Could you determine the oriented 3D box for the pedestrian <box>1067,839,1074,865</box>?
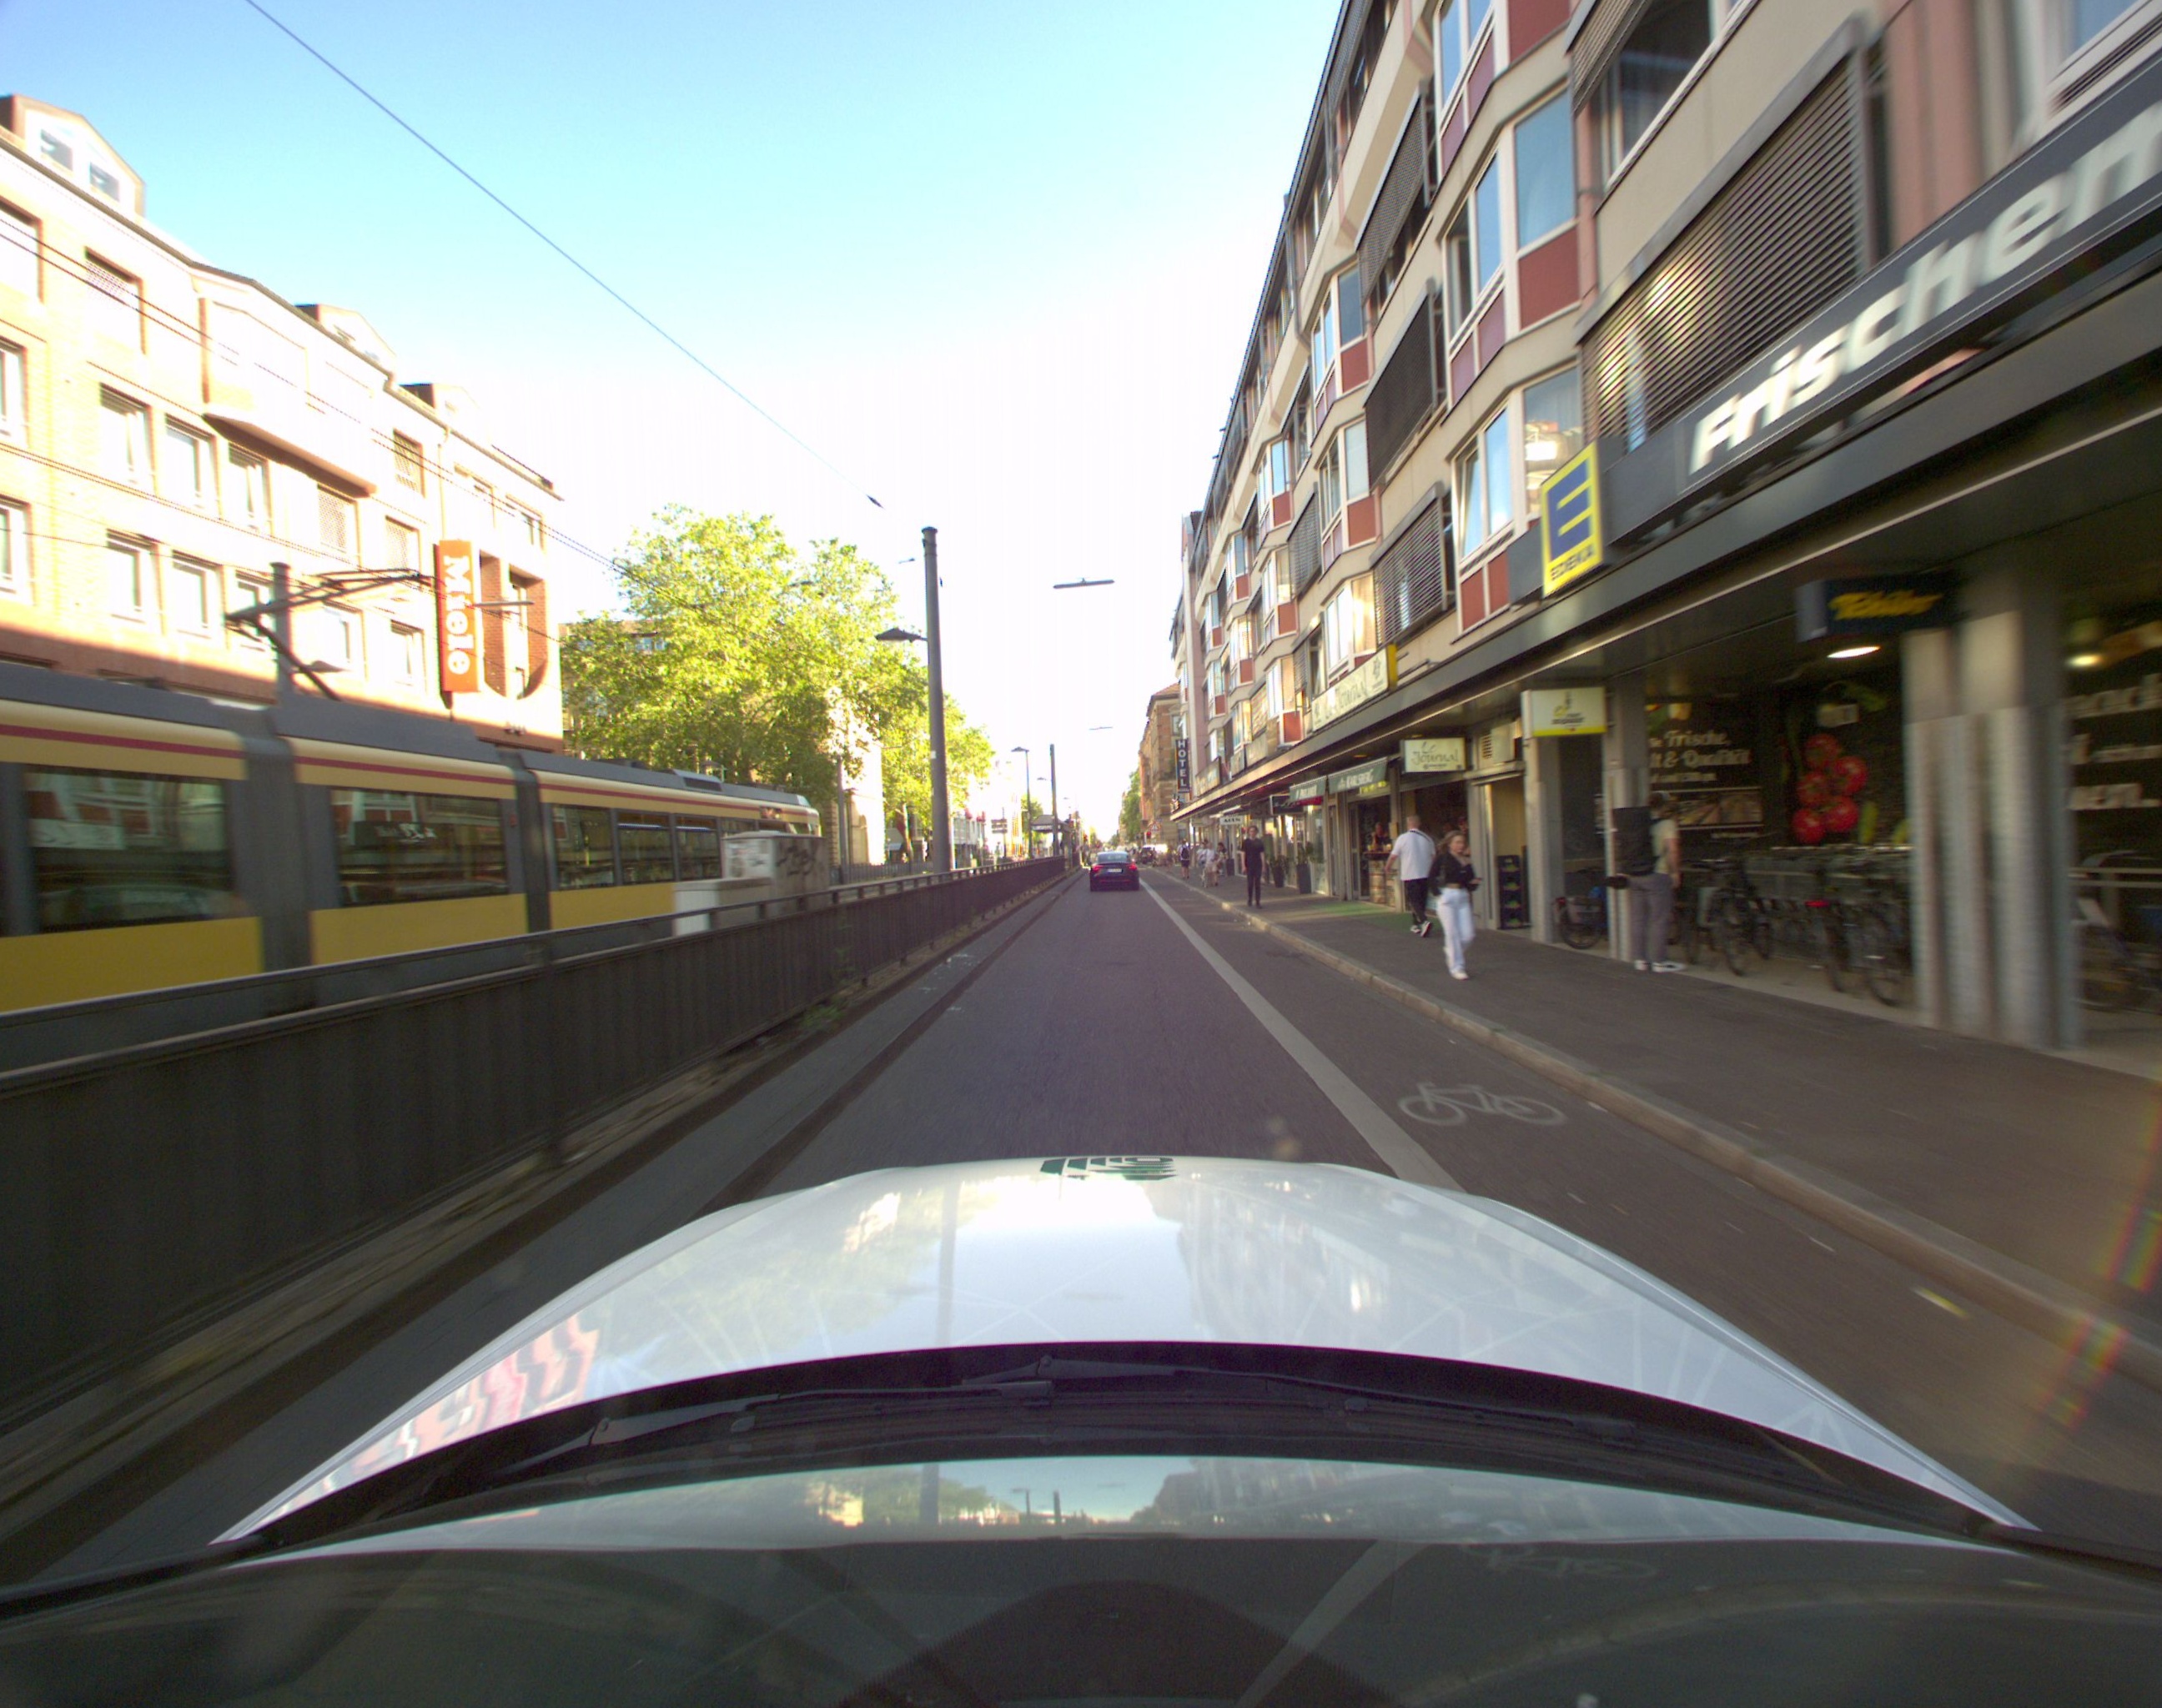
[{"bbox_3d":[-0.706,-0.141,53.056,0.350,1.669,0.529,-3,0,1],"label":"pedestrian"}]

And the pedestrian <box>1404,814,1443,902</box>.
[{"bbox_3d":[6.586,0.071,15.689,0.513,1.632,0.523,-3,0,7],"label":"pedestrian"}]

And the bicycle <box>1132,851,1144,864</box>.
[{"bbox_3d":[5.431,0.340,77.076,0.647,1.139,2.089,-2,0,-9],"label":"bicycle"}]

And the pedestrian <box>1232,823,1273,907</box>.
[{"bbox_3d":[3.981,0.237,18.993,0.672,1.861,0.993,-5,0,3],"label":"pedestrian"}]

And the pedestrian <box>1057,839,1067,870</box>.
[{"bbox_3d":[-0.981,0.037,41.572,0.422,1.573,0.448,-2,0,2],"label":"pedestrian"}]

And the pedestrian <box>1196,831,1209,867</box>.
[{"bbox_3d":[6.494,-0.272,43.615,0.449,1.849,0.812,-4,0,0],"label":"pedestrian"}]

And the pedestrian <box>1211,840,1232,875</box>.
[{"bbox_3d":[6.257,0.135,36.294,0.735,1.472,0.707,-5,0,2],"label":"pedestrian"}]

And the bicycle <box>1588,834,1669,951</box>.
[{"bbox_3d":[6.346,0.412,9.409,1.393,1.236,0.405,-3,0,-42],"label":"bicycle"}]

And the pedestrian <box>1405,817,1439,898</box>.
[{"bbox_3d":[6.924,0.071,16.545,0.454,1.603,0.465,-3,0,4],"label":"pedestrian"}]

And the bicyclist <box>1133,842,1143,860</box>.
[{"bbox_3d":[5.403,-0.320,77.080,0.654,1.655,0.925,-2,0,-9],"label":"bicyclist"}]

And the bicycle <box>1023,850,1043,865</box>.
[{"bbox_3d":[-5.052,0.384,85.640,1.951,1.516,0.632,-2,0,-13],"label":"bicycle"}]

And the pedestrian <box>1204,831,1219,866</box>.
[{"bbox_3d":[6.765,-0.290,42.202,0.627,1.769,0.501,-4,0,2],"label":"pedestrian"}]

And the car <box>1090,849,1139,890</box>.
[{"bbox_3d":[1.246,0.532,31.033,1.713,1.405,3.711,-2,1,1],"label":"car"}]

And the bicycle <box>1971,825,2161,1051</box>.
[{"bbox_3d":[6.599,0.451,5.142,0.550,1.236,2.096,-3,0,26],"label":"bicycle"}]

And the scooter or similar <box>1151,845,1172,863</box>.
[{"bbox_3d":[6.015,0.014,60.794,1.473,1.229,0.592,-5,0,2],"label":"scooter or similar"}]

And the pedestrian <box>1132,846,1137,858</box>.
[{"bbox_3d":[8.436,-0.358,128.768,0.670,1.814,0.756,-3,0,1],"label":"pedestrian"}]

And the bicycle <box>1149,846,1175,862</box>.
[{"bbox_3d":[6.384,-0.011,64.120,1.939,1.106,0.564,-3,0,0],"label":"bicycle"}]

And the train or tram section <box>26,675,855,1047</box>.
[{"bbox_3d":[-8.681,-0.090,16.361,2.962,3.644,16.496,-1,1,2],"label":"train or tram section"}]

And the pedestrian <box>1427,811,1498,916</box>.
[{"bbox_3d":[6.443,0.153,13.787,0.769,1.674,0.696,-5,0,2],"label":"pedestrian"}]

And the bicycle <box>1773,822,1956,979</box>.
[{"bbox_3d":[7.153,0.355,7.561,0.570,1.254,2.129,-1,0,26],"label":"bicycle"}]

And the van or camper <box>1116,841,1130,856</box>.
[{"bbox_3d":[6.035,-0.723,117.216,1.924,2.037,5.477,-1,0,1],"label":"van or camper"}]

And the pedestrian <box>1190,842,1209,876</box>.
[{"bbox_3d":[5.415,0.241,37.177,0.633,1.483,0.654,-5,0,1],"label":"pedestrian"}]

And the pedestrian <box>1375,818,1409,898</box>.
[{"bbox_3d":[6.462,0.080,16.953,0.454,1.603,0.530,-3,0,2],"label":"pedestrian"}]

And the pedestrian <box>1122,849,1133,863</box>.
[{"bbox_3d":[5.127,0.222,90.210,0.834,1.548,0.703,-2,1,37],"label":"pedestrian"}]

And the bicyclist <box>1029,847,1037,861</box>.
[{"bbox_3d":[-5.008,-0.011,85.647,0.680,1.516,0.632,-2,0,-13],"label":"bicyclist"}]

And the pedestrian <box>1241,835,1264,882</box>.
[{"bbox_3d":[5.894,0.150,28.002,0.598,1.590,0.554,-4,0,1],"label":"pedestrian"}]

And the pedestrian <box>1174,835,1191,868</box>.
[{"bbox_3d":[5.808,-0.126,46.585,0.703,1.820,0.764,-5,0,2],"label":"pedestrian"}]

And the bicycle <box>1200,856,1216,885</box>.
[{"bbox_3d":[4.627,0.573,29.777,0.301,0.990,1.760,-4,1,1],"label":"bicycle"}]

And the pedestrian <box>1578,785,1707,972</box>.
[{"bbox_3d":[5.555,0.227,8.072,0.788,1.721,0.588,-5,1,-16],"label":"pedestrian"}]

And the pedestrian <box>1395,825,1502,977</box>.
[{"bbox_3d":[3.986,0.484,8.883,0.663,1.520,0.789,-5,0,-2],"label":"pedestrian"}]

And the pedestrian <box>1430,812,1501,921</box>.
[{"bbox_3d":[6.084,0.186,12.926,0.723,1.636,0.639,-5,0,3],"label":"pedestrian"}]

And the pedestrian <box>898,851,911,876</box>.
[{"bbox_3d":[-14.542,0.754,67.141,0.696,2.013,0.691,-2,0,13],"label":"pedestrian"}]

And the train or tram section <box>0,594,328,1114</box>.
[{"bbox_3d":[-9.245,0.074,1.107,2.962,3.644,13.952,-1,1,2],"label":"train or tram section"}]

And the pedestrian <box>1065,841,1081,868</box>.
[{"bbox_3d":[-0.531,0.013,56.057,0.775,1.831,0.796,-1,-1,-28],"label":"pedestrian"}]

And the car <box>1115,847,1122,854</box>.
[{"bbox_3d":[8.650,-0.830,188.255,1.704,1.457,4.552,-2,0,2],"label":"car"}]

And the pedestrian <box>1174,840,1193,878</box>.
[{"bbox_3d":[4.635,0.221,36.973,0.741,1.727,0.815,-1,0,2],"label":"pedestrian"}]

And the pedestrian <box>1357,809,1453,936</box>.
[{"bbox_3d":[4.903,0.258,12.399,0.903,1.775,1.050,-5,0,2],"label":"pedestrian"}]

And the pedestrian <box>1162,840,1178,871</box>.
[{"bbox_3d":[5.058,0.088,46.369,0.665,1.728,0.810,-5,0,1],"label":"pedestrian"}]

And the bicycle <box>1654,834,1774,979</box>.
[{"bbox_3d":[6.226,0.443,8.110,0.465,1.251,2.096,-3,0,26],"label":"bicycle"}]

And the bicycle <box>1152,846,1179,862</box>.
[{"bbox_3d":[6.381,-0.014,61.442,1.939,1.106,0.564,-3,0,0],"label":"bicycle"}]

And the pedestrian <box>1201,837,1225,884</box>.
[{"bbox_3d":[4.826,0.232,29.845,0.660,1.630,0.705,-5,0,1],"label":"pedestrian"}]

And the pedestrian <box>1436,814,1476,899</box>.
[{"bbox_3d":[7.303,0.042,15.885,0.517,1.607,0.543,-3,0,7],"label":"pedestrian"}]

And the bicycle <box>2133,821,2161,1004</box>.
[{"bbox_3d":[7.190,0.411,4.641,0.550,1.236,2.096,-3,0,26],"label":"bicycle"}]
